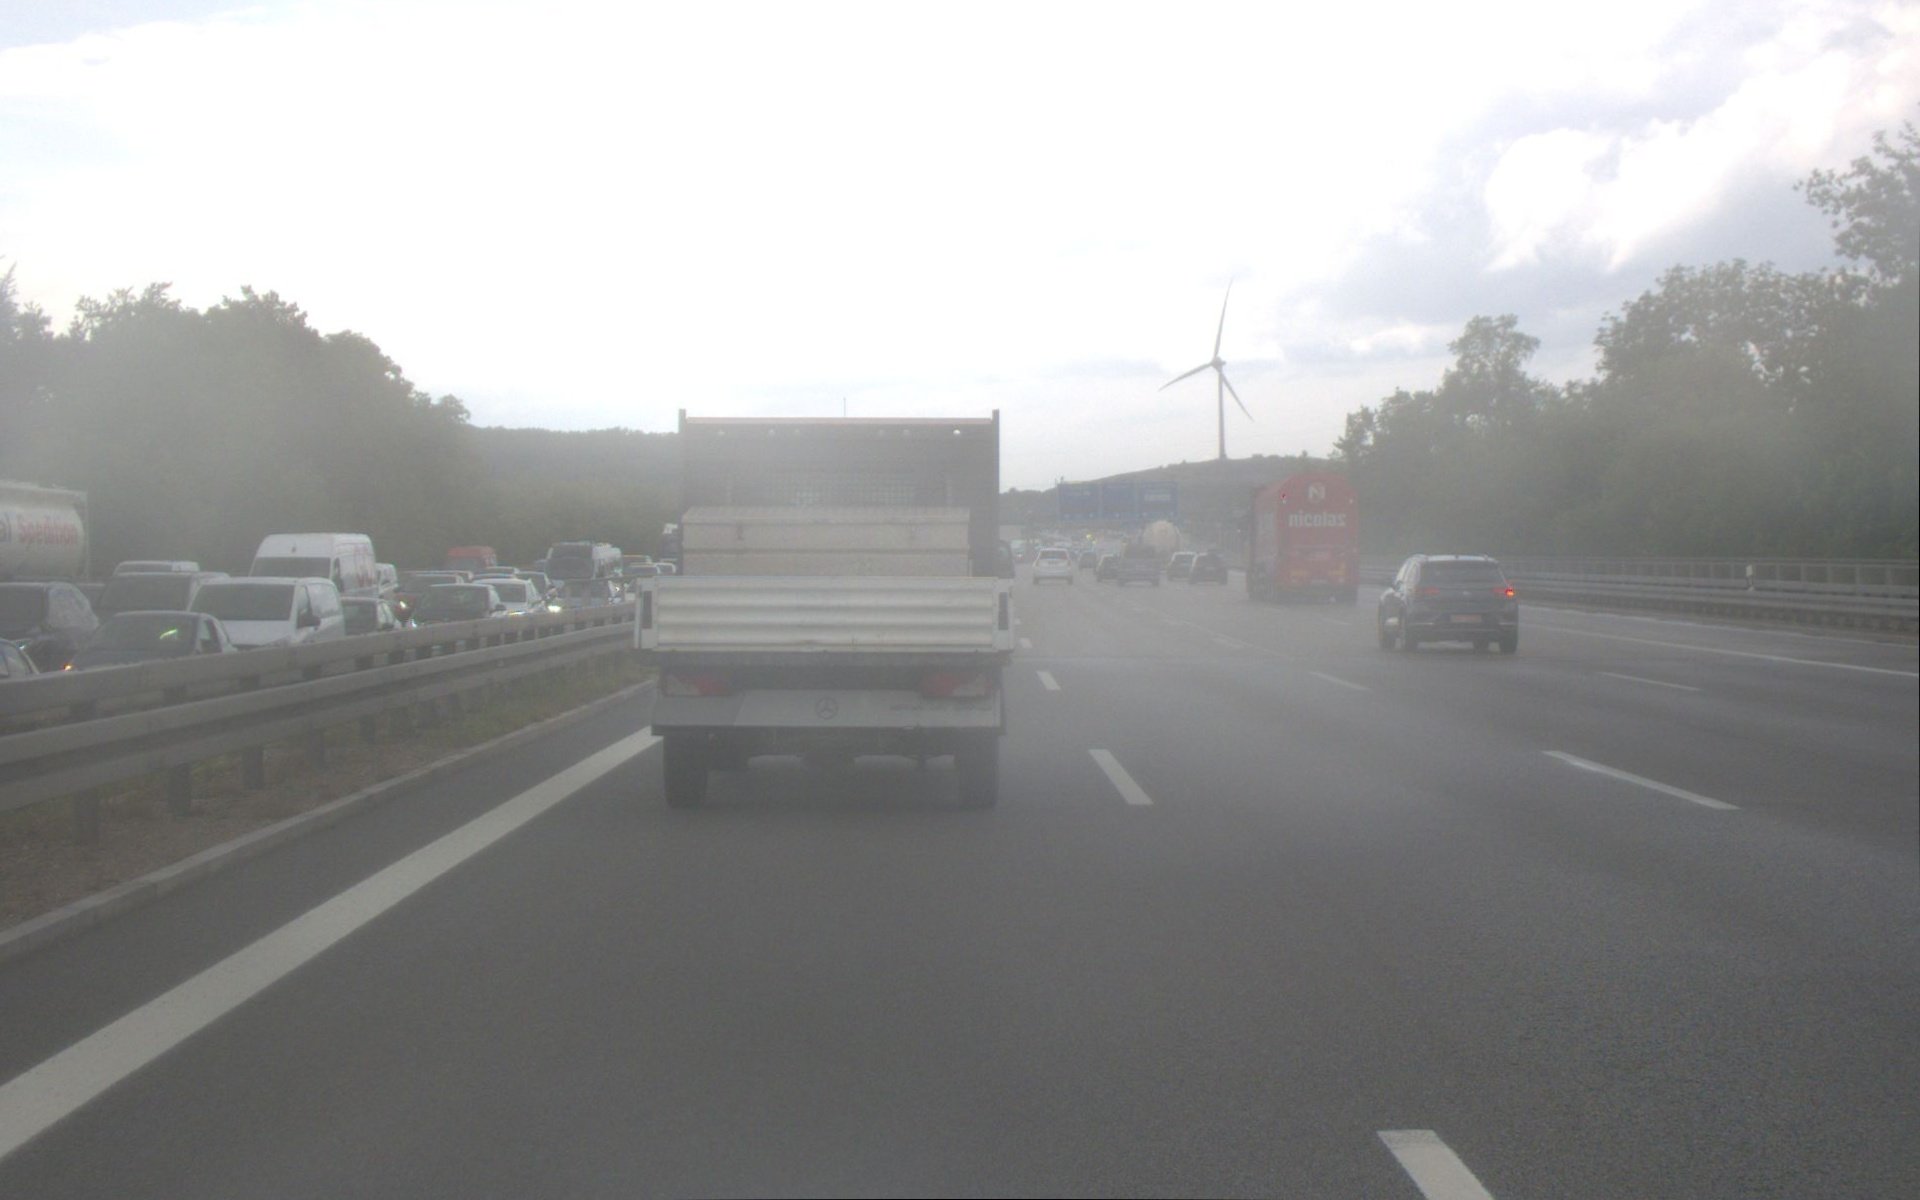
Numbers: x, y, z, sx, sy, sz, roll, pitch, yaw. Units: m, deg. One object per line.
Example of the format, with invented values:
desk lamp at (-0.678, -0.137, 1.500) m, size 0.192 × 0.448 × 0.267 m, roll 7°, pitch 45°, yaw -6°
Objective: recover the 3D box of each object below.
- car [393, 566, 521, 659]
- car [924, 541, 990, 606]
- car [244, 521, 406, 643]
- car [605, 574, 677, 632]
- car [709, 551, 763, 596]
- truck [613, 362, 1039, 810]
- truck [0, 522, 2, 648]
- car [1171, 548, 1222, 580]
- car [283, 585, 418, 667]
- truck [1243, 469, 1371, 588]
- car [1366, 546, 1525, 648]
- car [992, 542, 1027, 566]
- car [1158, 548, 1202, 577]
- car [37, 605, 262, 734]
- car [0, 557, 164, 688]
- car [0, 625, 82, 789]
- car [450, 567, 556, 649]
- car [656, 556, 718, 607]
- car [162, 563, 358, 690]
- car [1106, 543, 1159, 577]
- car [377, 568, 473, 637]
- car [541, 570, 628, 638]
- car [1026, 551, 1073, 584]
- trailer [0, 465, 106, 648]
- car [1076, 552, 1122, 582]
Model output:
car at (-10.341, 0.226, 71.009) m, size 1.894 × 1.794 × 5.571 m, roll -1°, pitch 1°, yaw -1°
car at (-0.081, -0.736, 91.841) m, size 1.717 × 1.618 × 4.279 m, roll 0°, pitch 2°, yaw 0°
car at (-14.379, -0.450, 78.350) m, size 2.127 × 2.627 × 7.609 m, roll -1°, pitch 1°, yaw 1°
car at (-10.343, 0.069, 111.649) m, size 1.894 × 1.794 × 4.596 m, roll -1°, pitch 1°, yaw 0°
car at (-9.087, -1.091, 139.903) m, size 1.894 × 1.794 × 4.596 m, roll -1°, pitch 1°, yaw 0°
truck at (-0.862, -0.081, 22.267) m, size 2.306 × 2.431 × 7.149 m, roll 0°, pitch 0°, yaw -2°
truck at (-22.623, -0.903, 72.304) m, size 3.024 × 4.038 × 6.533 m, roll -1°, pitch 1°, yaw 0°
car at (11.701, -1.794, 170.547) m, size 1.967 × 1.555 × 4.434 m, roll -1°, pitch 1°, yaw -3°
car at (-10.427, 0.418, 59.028) m, size 1.621 × 1.292 × 4.251 m, roll -1°, pitch 1°, yaw -1°
truck at (11.169, -2.380, 111.721) m, size 3.152 × 3.589 × 12.699 m, roll 1°, pitch 2°, yaw 2°
car at (7.665, -0.077, 54.628) m, size 1.882 × 1.537 × 4.433 m, roll -1°, pitch 1°, yaw 0°
car at (3.287, -3.049, 228.801) m, size 1.968 × 1.555 × 4.434 m, roll -1°, pitch 1°, yaw -3°
car at (12.369, -2.110, 193.437) m, size 1.967 × 1.555 × 4.434 m, roll -1°, pitch 1°, yaw -3°
car at (-10.377, 0.849, 44.308) m, size 1.894 × 1.483 × 4.478 m, roll -1°, pitch 1°, yaw -1°
car at (-14.355, 0.315, 55.038) m, size 1.894 × 1.955 × 5.588 m, roll -1°, pitch 1°, yaw 0°
car at (-9.923, 1.032, 32.988) m, size 1.894 × 1.455 × 4.478 m, roll -1°, pitch 1°, yaw -1°
car at (-10.583, 0.159, 79.831) m, size 1.894 × 1.794 × 4.596 m, roll -1°, pitch 1°, yaw -1°
car at (-10.001, -0.704, 126.229) m, size 1.894 × 1.794 × 4.596 m, roll -1°, pitch 1°, yaw 0°
car at (-10.645, 0.347, 52.689) m, size 1.894 × 1.794 × 5.842 m, roll -1°, pitch 1°, yaw -1°
car at (8.056, -1.877, 160.882) m, size 1.967 × 1.555 × 4.434 m, roll -1°, pitch 1°, yaw -3°
car at (-14.605, 0.055, 94.029) m, size 1.894 × 1.794 × 4.596 m, roll -1°, pitch 1°, yaw 0°
car at (-10.389, 0.079, 95.314) m, size 1.894 × 1.794 × 4.596 m, roll -1°, pitch 1°, yaw 0°
car at (4.383, -1.604, 168.861) m, size 1.967 × 1.555 × 4.434 m, roll -1°, pitch 1°, yaw -3°
trailer at (-22.674, -0.986, 78.778) m, size 3.008 × 4.018 × 13.140 m, roll -1°, pitch 1°, yaw -1°
car at (7.398, -1.789, 183.590) m, size 1.967 × 1.555 × 4.434 m, roll -1°, pitch 1°, yaw -4°
